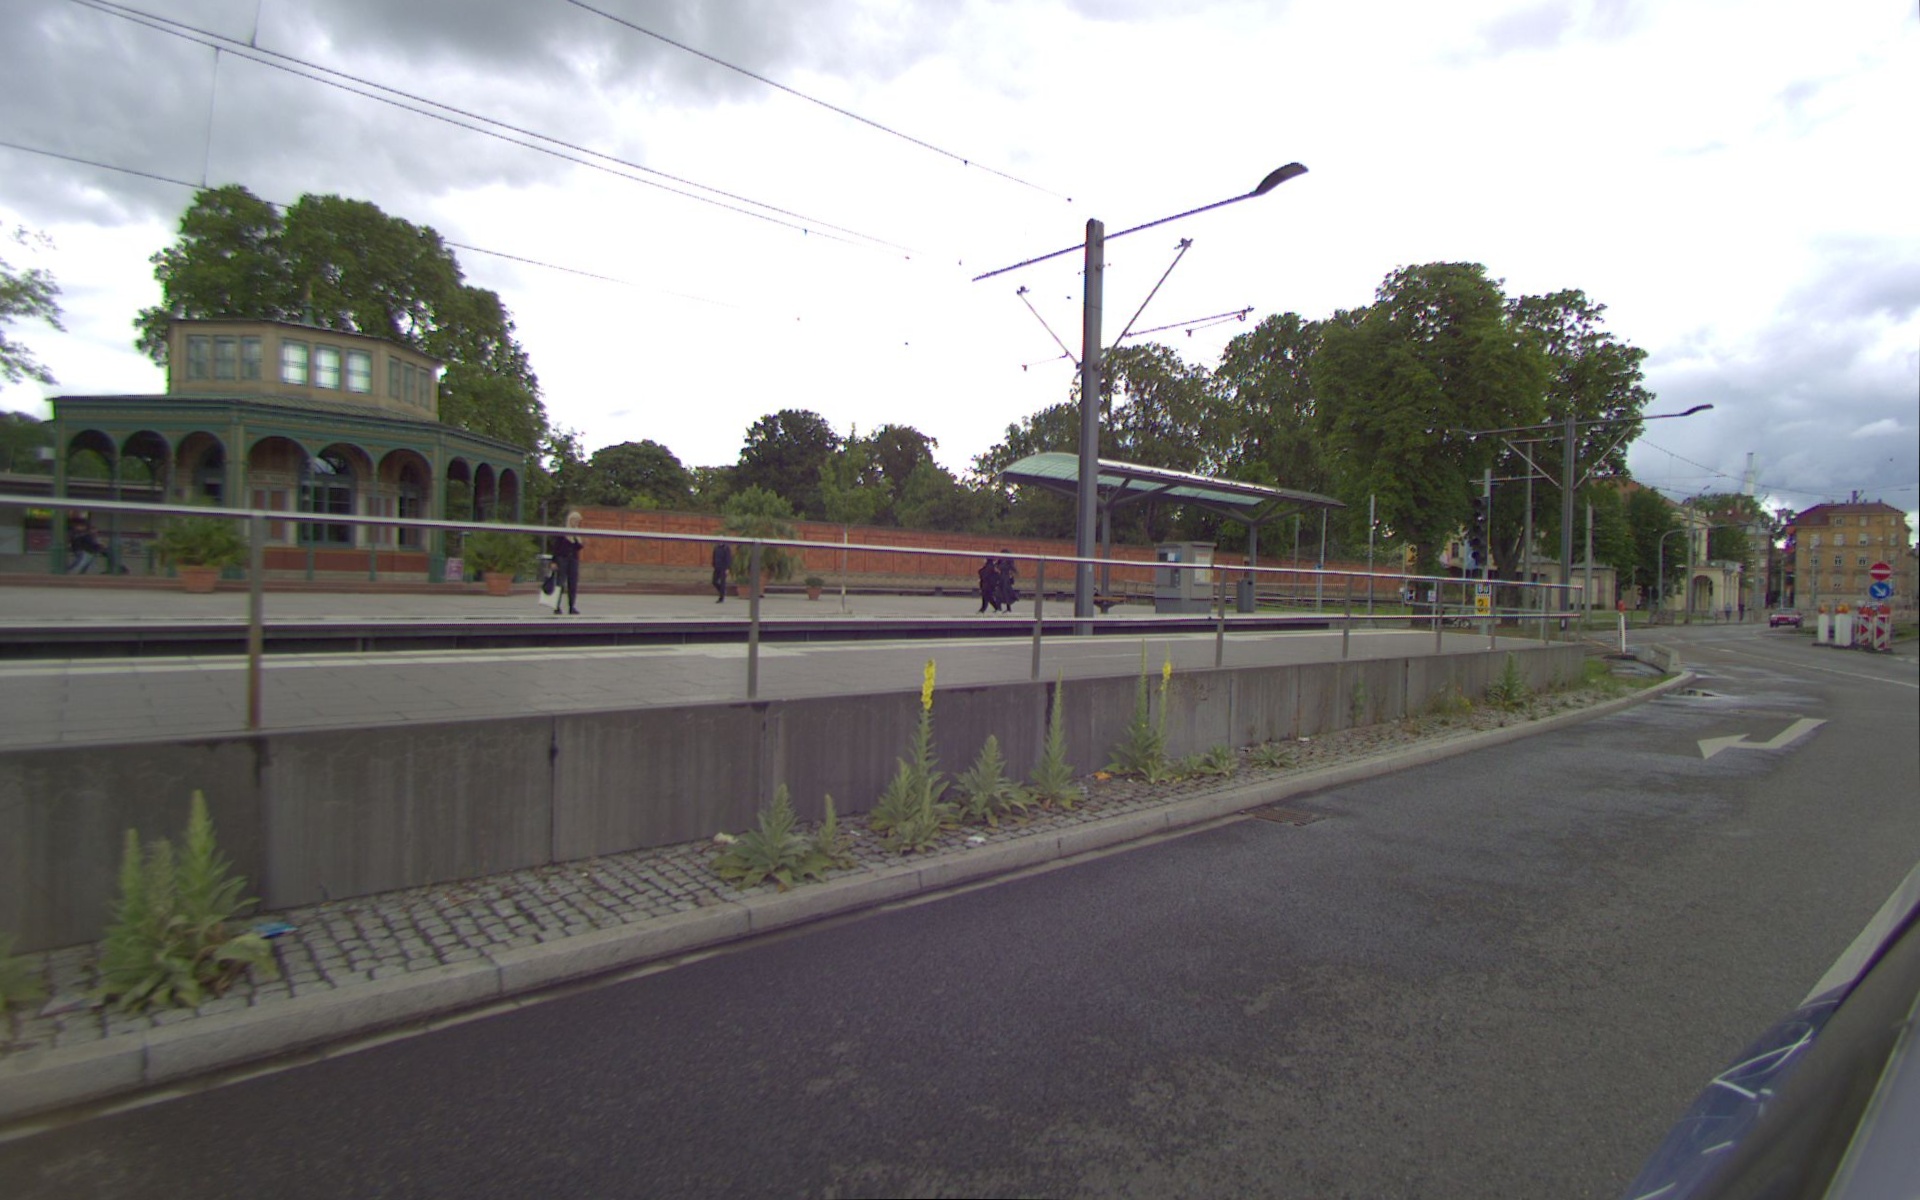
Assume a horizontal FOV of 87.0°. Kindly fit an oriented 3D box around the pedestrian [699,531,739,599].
[{"bbox_3d":[-6.734,-0.953,28.316,0.547,1.861,0.938,-1,-1,41],"label":"pedestrian"}]

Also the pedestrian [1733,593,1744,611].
[{"bbox_3d":[79.848,0.224,103.818,0.921,1.790,0.671,0,1,-43],"label":"pedestrian"}]

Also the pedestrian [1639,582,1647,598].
[{"bbox_3d":[75.880,-1.092,112.435,0.795,1.815,0.596,0,1,-43],"label":"pedestrian"}]

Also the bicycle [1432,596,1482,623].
[{"bbox_3d":[23.106,0.419,47.071,0.727,1.172,1.997,1,1,-37],"label":"bicycle"}]

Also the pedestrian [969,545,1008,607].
[{"bbox_3d":[0.758,-0.629,26.907,0.757,1.621,0.742,0,-1,-33],"label":"pedestrian"}]

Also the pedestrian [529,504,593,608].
[{"bbox_3d":[-6.739,-0.720,17.100,0.851,1.709,0.633,0,-1,-42],"label":"pedestrian"}]

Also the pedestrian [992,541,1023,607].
[{"bbox_3d":[1.225,-0.655,26.228,0.616,1.681,0.487,0,-1,-33],"label":"pedestrian"}]

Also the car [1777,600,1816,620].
[{"bbox_3d":[61.313,0.715,74.146,4.050,1.460,1.678,0,-1,-43],"label":"car"}]
